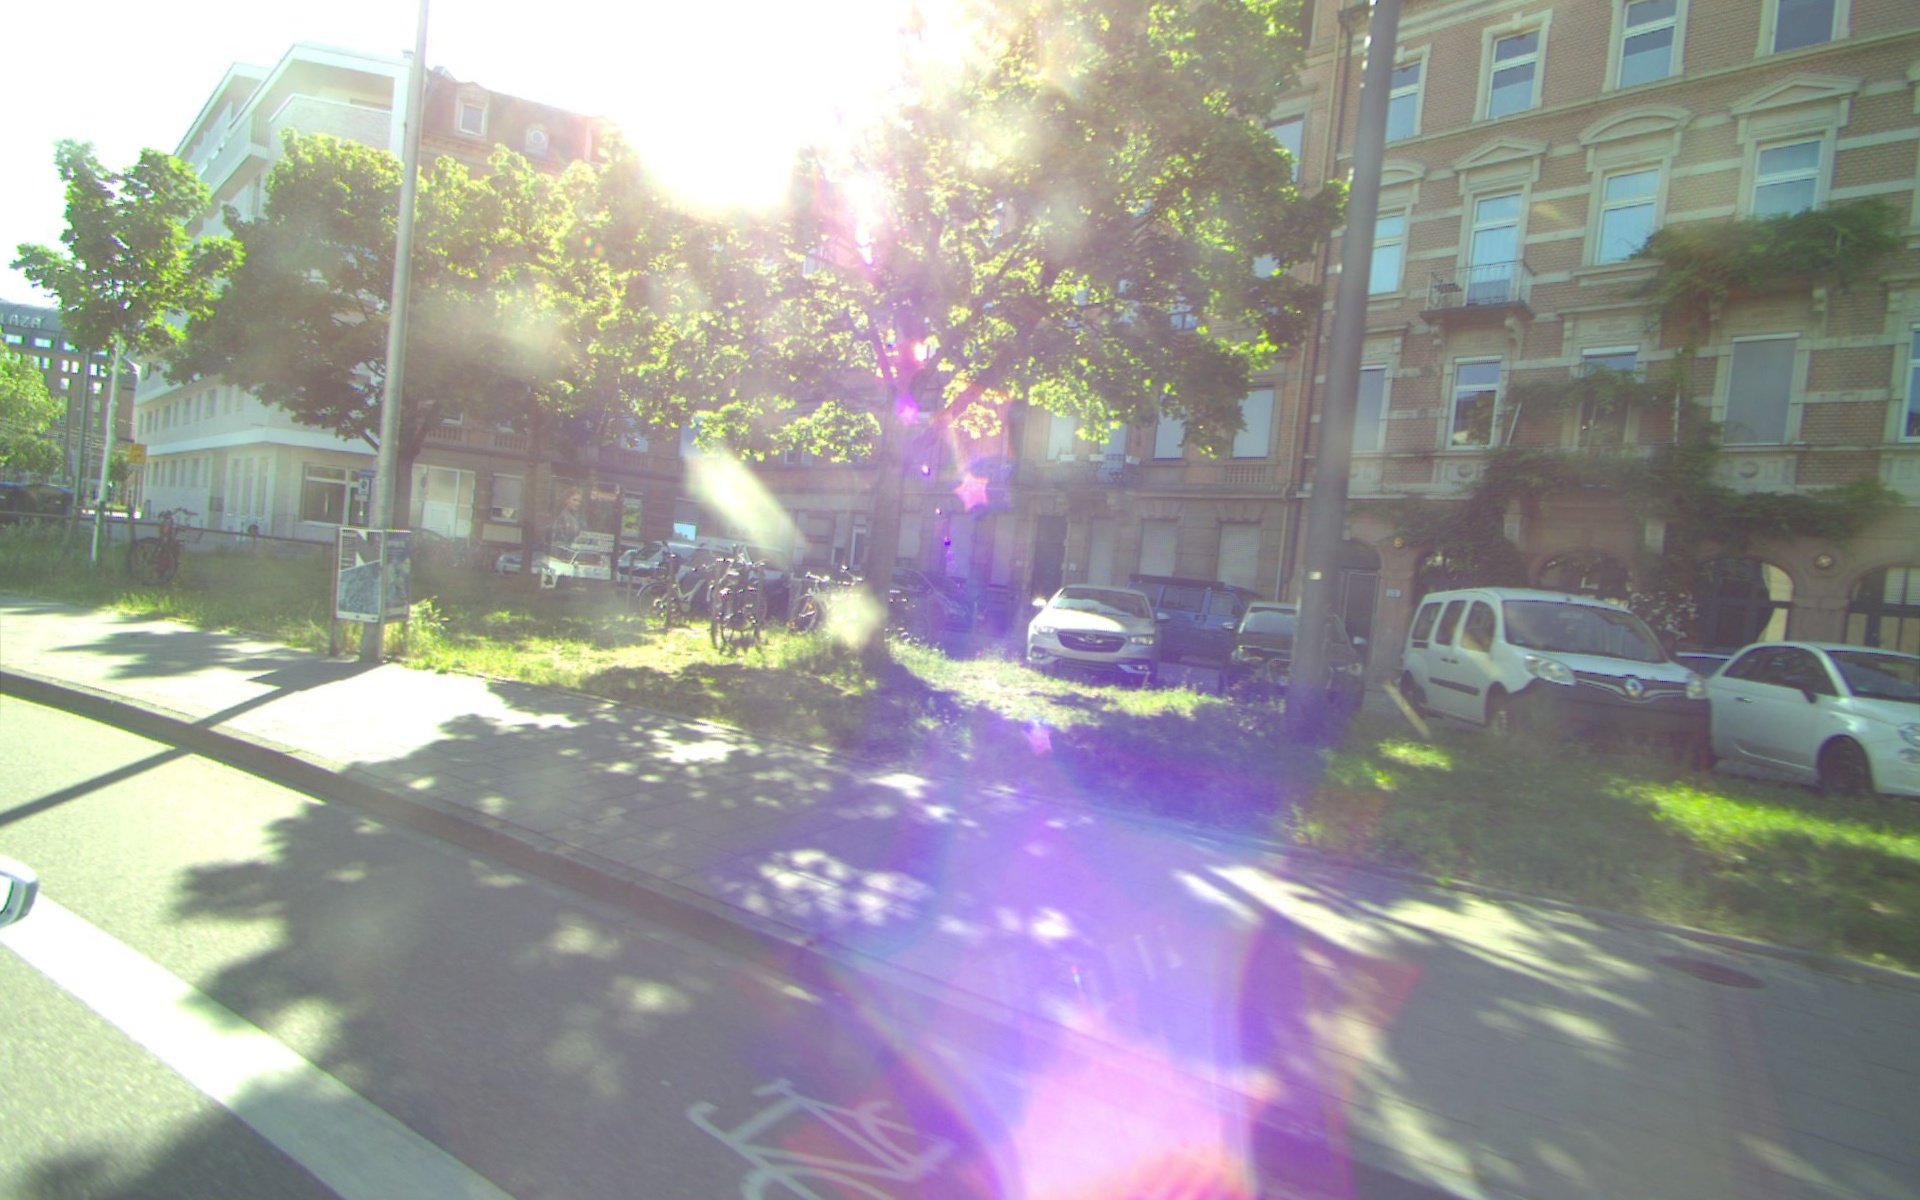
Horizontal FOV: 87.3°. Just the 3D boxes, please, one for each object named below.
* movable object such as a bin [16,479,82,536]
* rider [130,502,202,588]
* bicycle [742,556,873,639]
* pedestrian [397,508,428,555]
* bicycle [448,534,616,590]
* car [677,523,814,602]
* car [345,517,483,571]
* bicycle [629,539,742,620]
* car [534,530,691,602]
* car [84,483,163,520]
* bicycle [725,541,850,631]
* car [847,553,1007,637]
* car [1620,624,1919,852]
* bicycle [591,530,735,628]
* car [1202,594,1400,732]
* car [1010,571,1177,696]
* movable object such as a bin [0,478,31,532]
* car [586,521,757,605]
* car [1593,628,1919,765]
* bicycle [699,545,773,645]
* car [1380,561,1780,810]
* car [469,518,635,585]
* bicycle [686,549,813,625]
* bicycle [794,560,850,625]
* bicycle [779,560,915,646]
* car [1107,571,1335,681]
[{"bbox_3d":[-25.357,-2.554,28.034,1.019,1.416,1.083,5,2,-26],"label":"movable object such as a bin"},{"bbox_3d":[-12.065,-0.853,15.322,0.497,1.191,1.663,5,2,-28],"label":"rider"},{"bbox_3d":[-2.456,-0.018,16.387,0.830,1.208,1.951,7,3,43],"label":"bicycle"},{"bbox_3d":[-19.546,-2.436,35.940,0.631,1.597,0.770,5,1,-8],"label":"pedestrian"},{"bbox_3d":[-13.302,-1.197,31.122,5.146,1.141,2.671,7,1,39],"label":"bicycle"},{"bbox_3d":[-7.853,-1.398,36.539,2.340,2.389,5.120,3,4,-45],"label":"car"},{"bbox_3d":[-19.847,-2.005,36.786,4.047,1.455,1.991,6,0,-19],"label":"car"},{"bbox_3d":[-5.452,-0.382,20.130,0.774,1.416,2.094,7,1,33],"label":"bicycle"},{"bbox_3d":[-8.857,-0.831,25.980,1.727,1.460,3.842,7,1,20],"label":"car"},{"bbox_3d":[-59.765,-6.990,71.935,3.955,2.039,1.984,6,1,-31],"label":"car"},{"bbox_3d":[-3.032,-0.224,17.899,0.776,1.382,2.091,7,1,38],"label":"bicycle"},{"bbox_3d":[-1.068,-0.192,30.138,4.662,2.004,1.986,8,4,45],"label":"car"},{"bbox_3d":[9.002,1.251,10.396,2.061,1.670,4.876,5,2,15],"label":"car"},{"bbox_3d":[-4.800,-0.315,16.399,0.776,1.382,2.091,7,1,38],"label":"bicycle"},{"bbox_3d":[4.391,0.749,13.515,1.888,1.398,3.615,6,1,11],"label":"car"},{"bbox_3d":[2.154,0.460,15.396,2.007,1.397,4.753,6,0,11],"label":"car"},{"bbox_3d":[-26.298,-2.626,27.348,1.097,1.416,1.312,5,1,-26],"label":"movable object such as a bin"},{"bbox_3d":[-6.755,-0.800,24.161,1.901,1.585,4.471,6,1,13],"label":"car"},{"bbox_3d":[13.414,1.512,16.800,4.448,1.550,1.989,7,3,40],"label":"car"},{"bbox_3d":[-3.233,-0.088,14.641,0.756,1.307,1.595,5,2,-6],"label":"bicycle"},{"bbox_3d":[6.532,0.714,11.442,2.060,2.040,4.877,5,2,10],"label":"car"},{"bbox_3d":[-10.920,-1.254,27.215,1.805,1.354,4.054,7,1,21],"label":"car"},{"bbox_3d":[-3.833,-0.210,18.474,0.811,1.173,2.159,7,1,40],"label":"bicycle"},{"bbox_3d":[-3.190,-0.166,23.465,0.772,1.382,2.100,6,0,4],"label":"bicycle"},{"bbox_3d":[-1.740,0.059,15.774,0.888,1.196,1.938,7,2,43],"label":"bicycle"},{"bbox_3d":[6.008,0.548,23.582,4.662,2.004,1.986,8,4,45],"label":"car"}]
